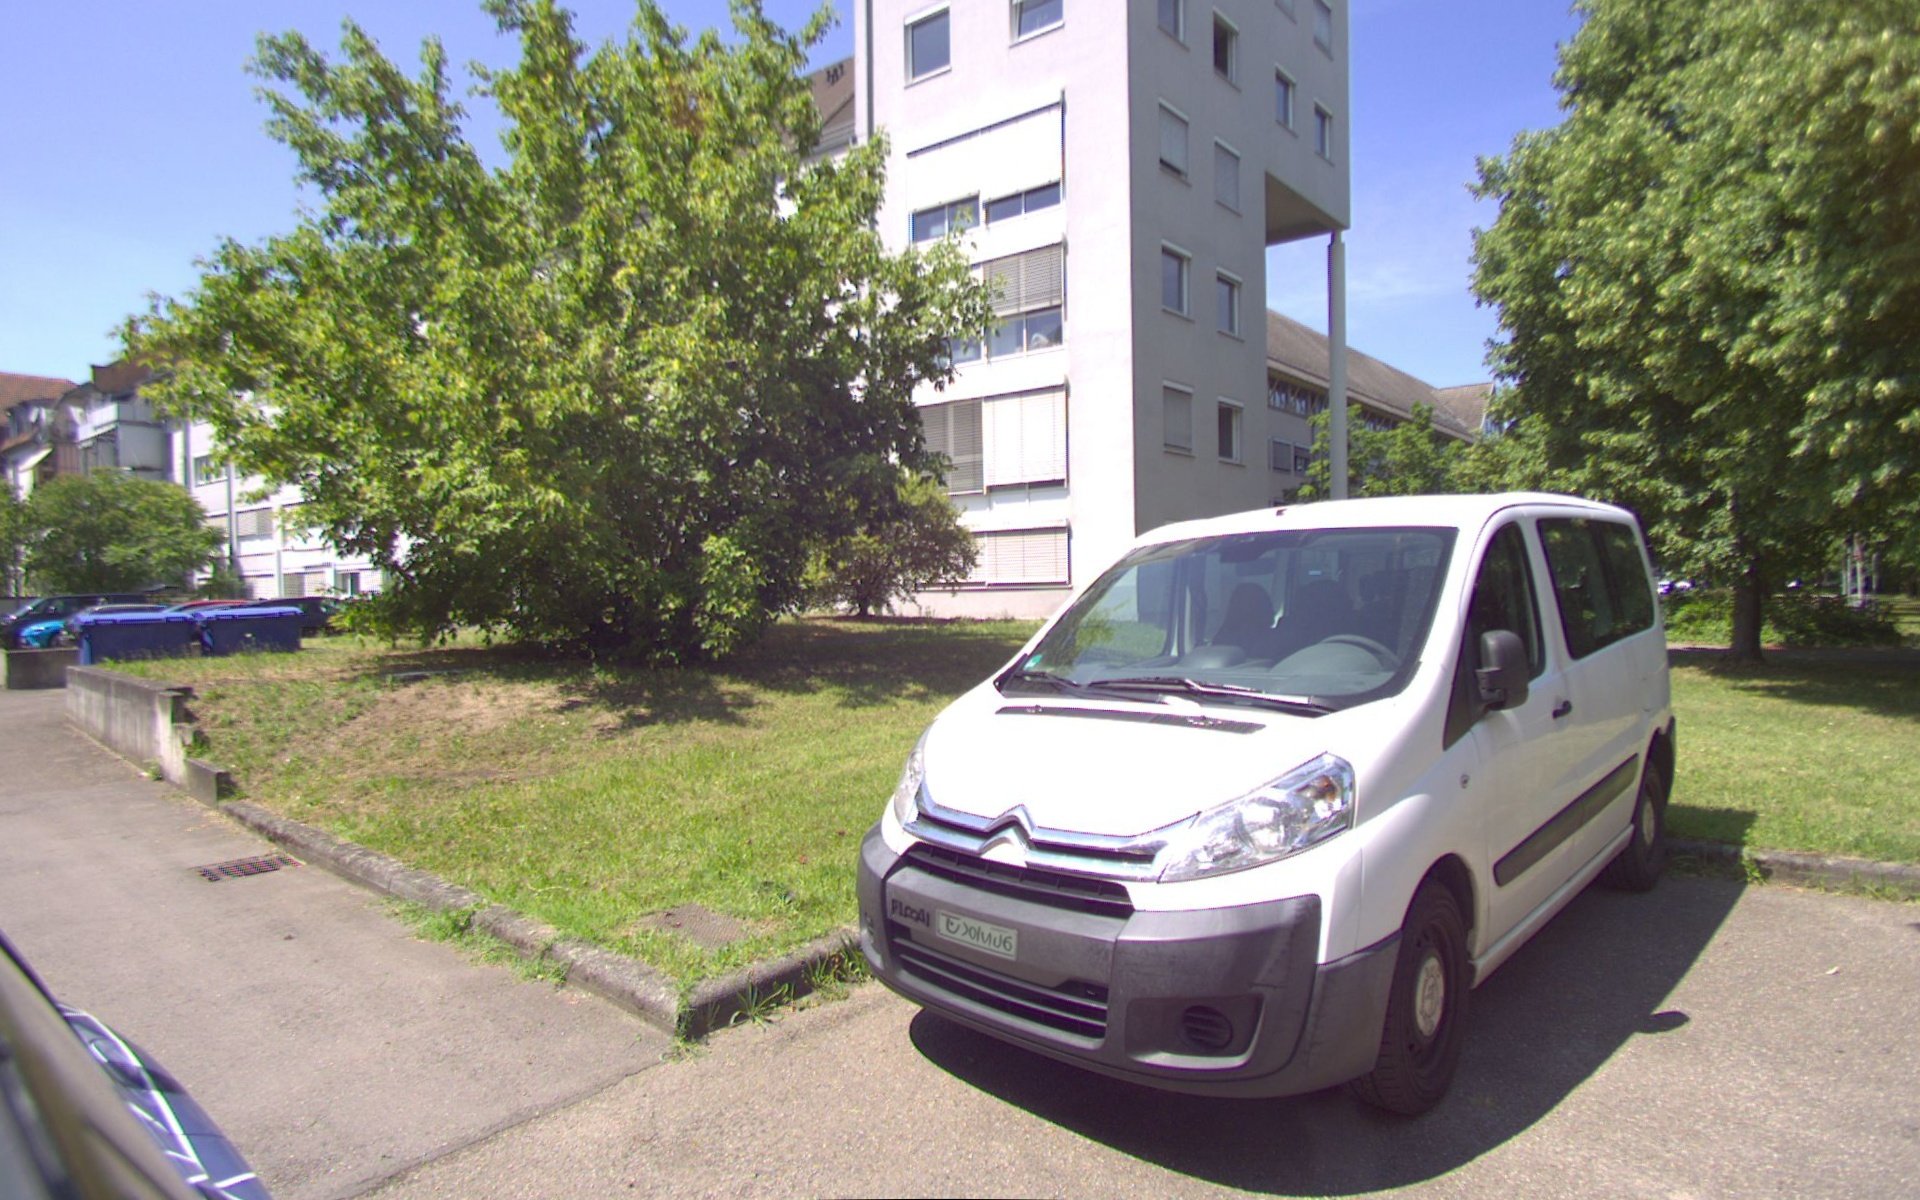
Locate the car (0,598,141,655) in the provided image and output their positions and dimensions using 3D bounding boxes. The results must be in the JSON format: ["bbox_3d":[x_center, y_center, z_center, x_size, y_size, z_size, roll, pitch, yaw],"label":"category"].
[{"bbox_3d":[-31.794,0.883,35.691,2.006,1.837,4.173,0,1,36],"label":"car"}]

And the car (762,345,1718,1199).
[{"bbox_3d":[1.721,0.405,4.481,2.068,1.897,4.794,0,1,44],"label":"car"}]

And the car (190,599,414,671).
[{"bbox_3d":[-16.239,0.786,25.188,1.610,1.580,4.392,0,1,36],"label":"car"}]

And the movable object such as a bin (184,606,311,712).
[{"bbox_3d":[-10.147,0.801,14.419,1.095,1.399,1.254,0,1,42],"label":"movable object such as a bin"}]

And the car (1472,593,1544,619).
[{"bbox_3d":[35.197,0.372,65.048,3.891,1.643,1.514,0,1,40],"label":"car"}]

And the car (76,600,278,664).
[{"bbox_3d":[-21.646,0.833,28.140,1.610,1.580,4.173,0,1,36],"label":"car"}]

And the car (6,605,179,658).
[{"bbox_3d":[-29.207,1.006,34.186,1.610,1.580,4.173,0,1,36],"label":"car"}]

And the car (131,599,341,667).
[{"bbox_3d":[-18.763,0.793,26.416,1.610,1.580,4.173,0,1,36],"label":"car"}]

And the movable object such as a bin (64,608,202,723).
[{"bbox_3d":[-10.976,0.819,13.440,1.095,1.399,1.254,0,1,42],"label":"movable object such as a bin"}]

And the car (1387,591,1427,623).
[{"bbox_3d":[24.023,0.340,54.374,1.799,1.615,3.859,0,1,27],"label":"car"}]

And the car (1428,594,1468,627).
[{"bbox_3d":[25.276,0.512,52.399,1.799,1.615,3.859,0,1,27],"label":"car"}]

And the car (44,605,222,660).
[{"bbox_3d":[-26.537,0.982,32.593,1.610,1.580,4.173,0,1,36],"label":"car"}]
